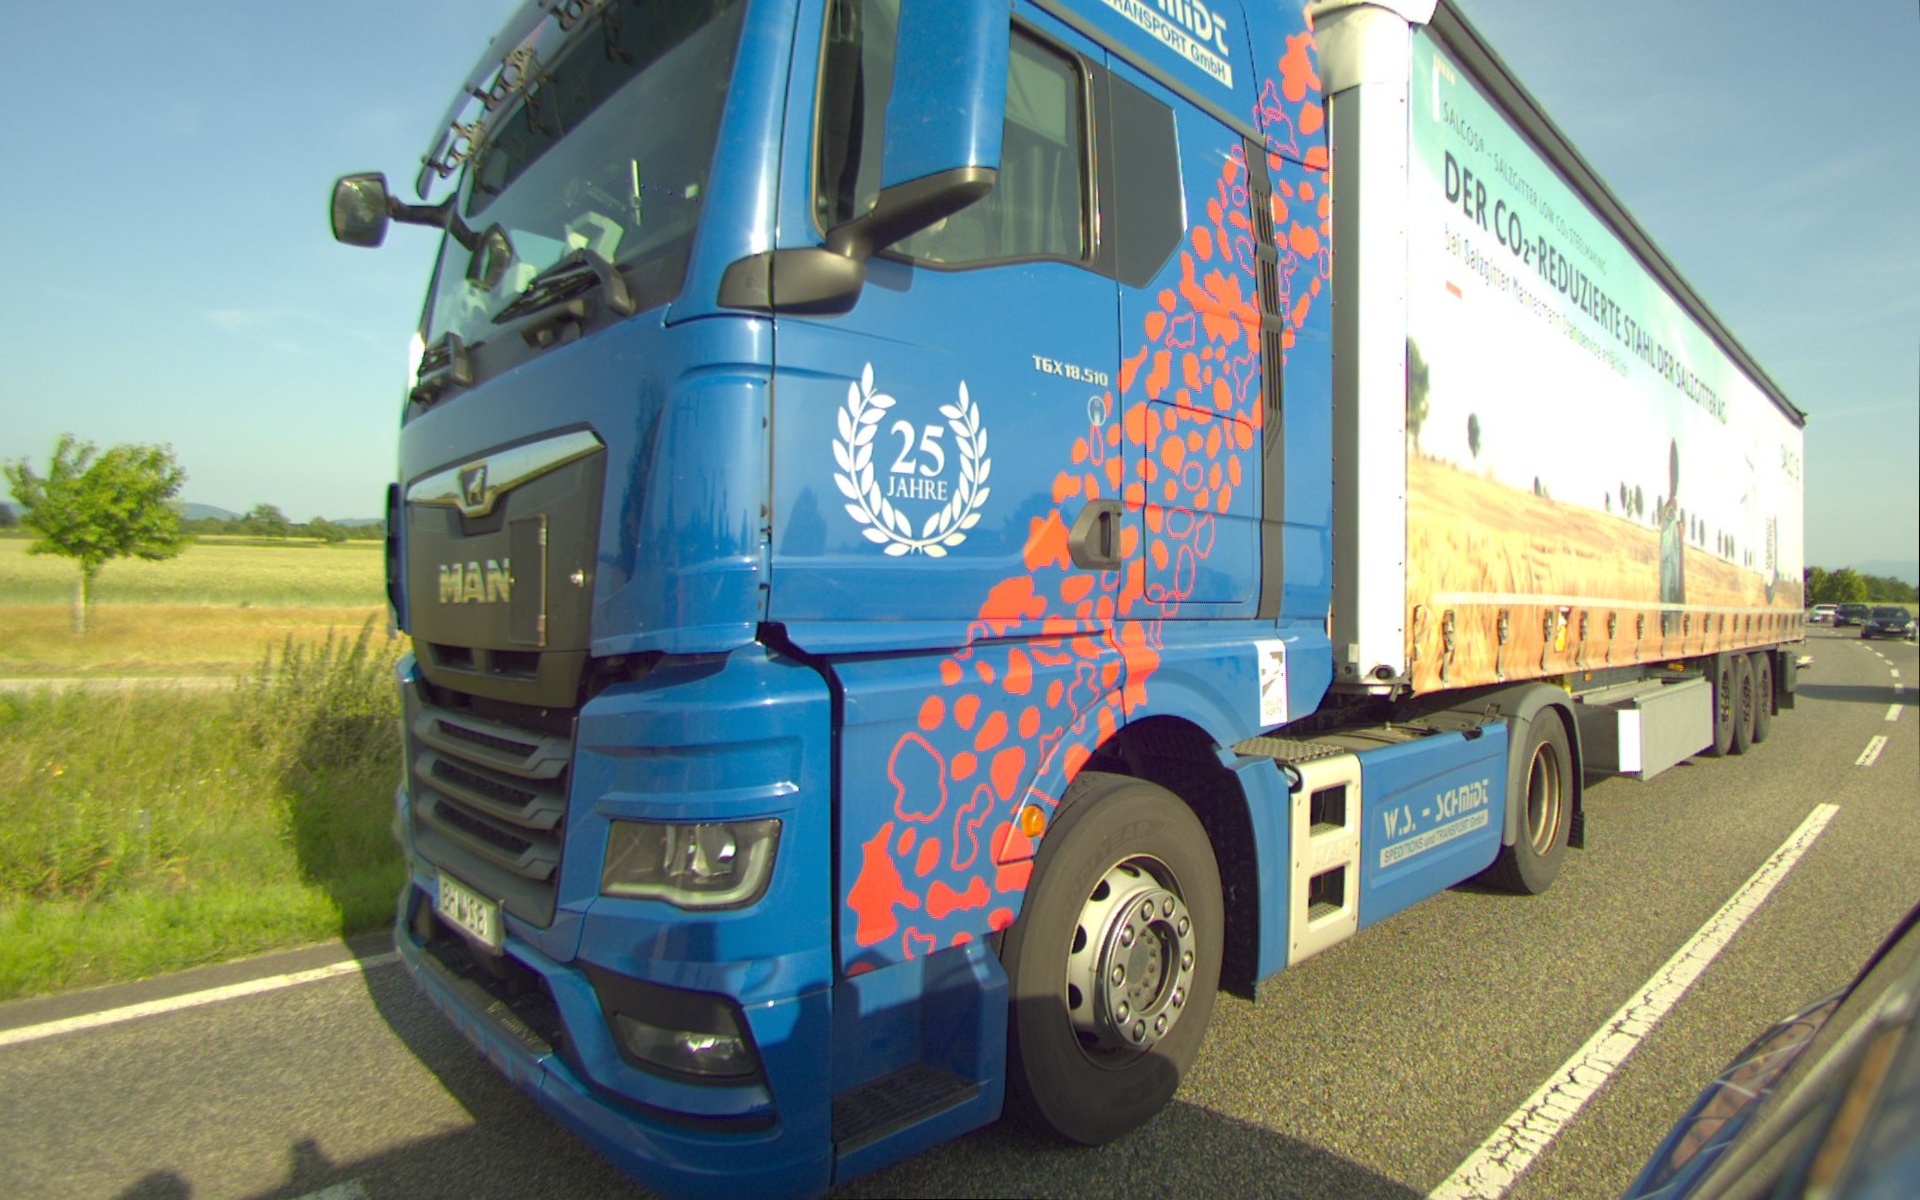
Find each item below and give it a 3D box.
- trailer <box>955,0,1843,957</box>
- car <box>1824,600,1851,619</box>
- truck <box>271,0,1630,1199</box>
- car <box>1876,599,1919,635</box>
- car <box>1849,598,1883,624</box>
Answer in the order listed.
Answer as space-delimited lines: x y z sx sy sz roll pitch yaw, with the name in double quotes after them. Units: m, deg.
5.729 -0.957 9.846 12.930 4.740 3.284 0 0 -44 "trailer"
68.125 0.707 78.583 1.552 1.417 3.975 2 1 41 "car"
0.469 -0.954 4.721 5.637 4.716 3.303 0 0 -44 "truck"
41.664 0.730 44.786 1.579 1.523 3.606 2 1 41 "car"
57.425 0.673 64.186 1.552 1.579 3.004 2 1 41 "car"
